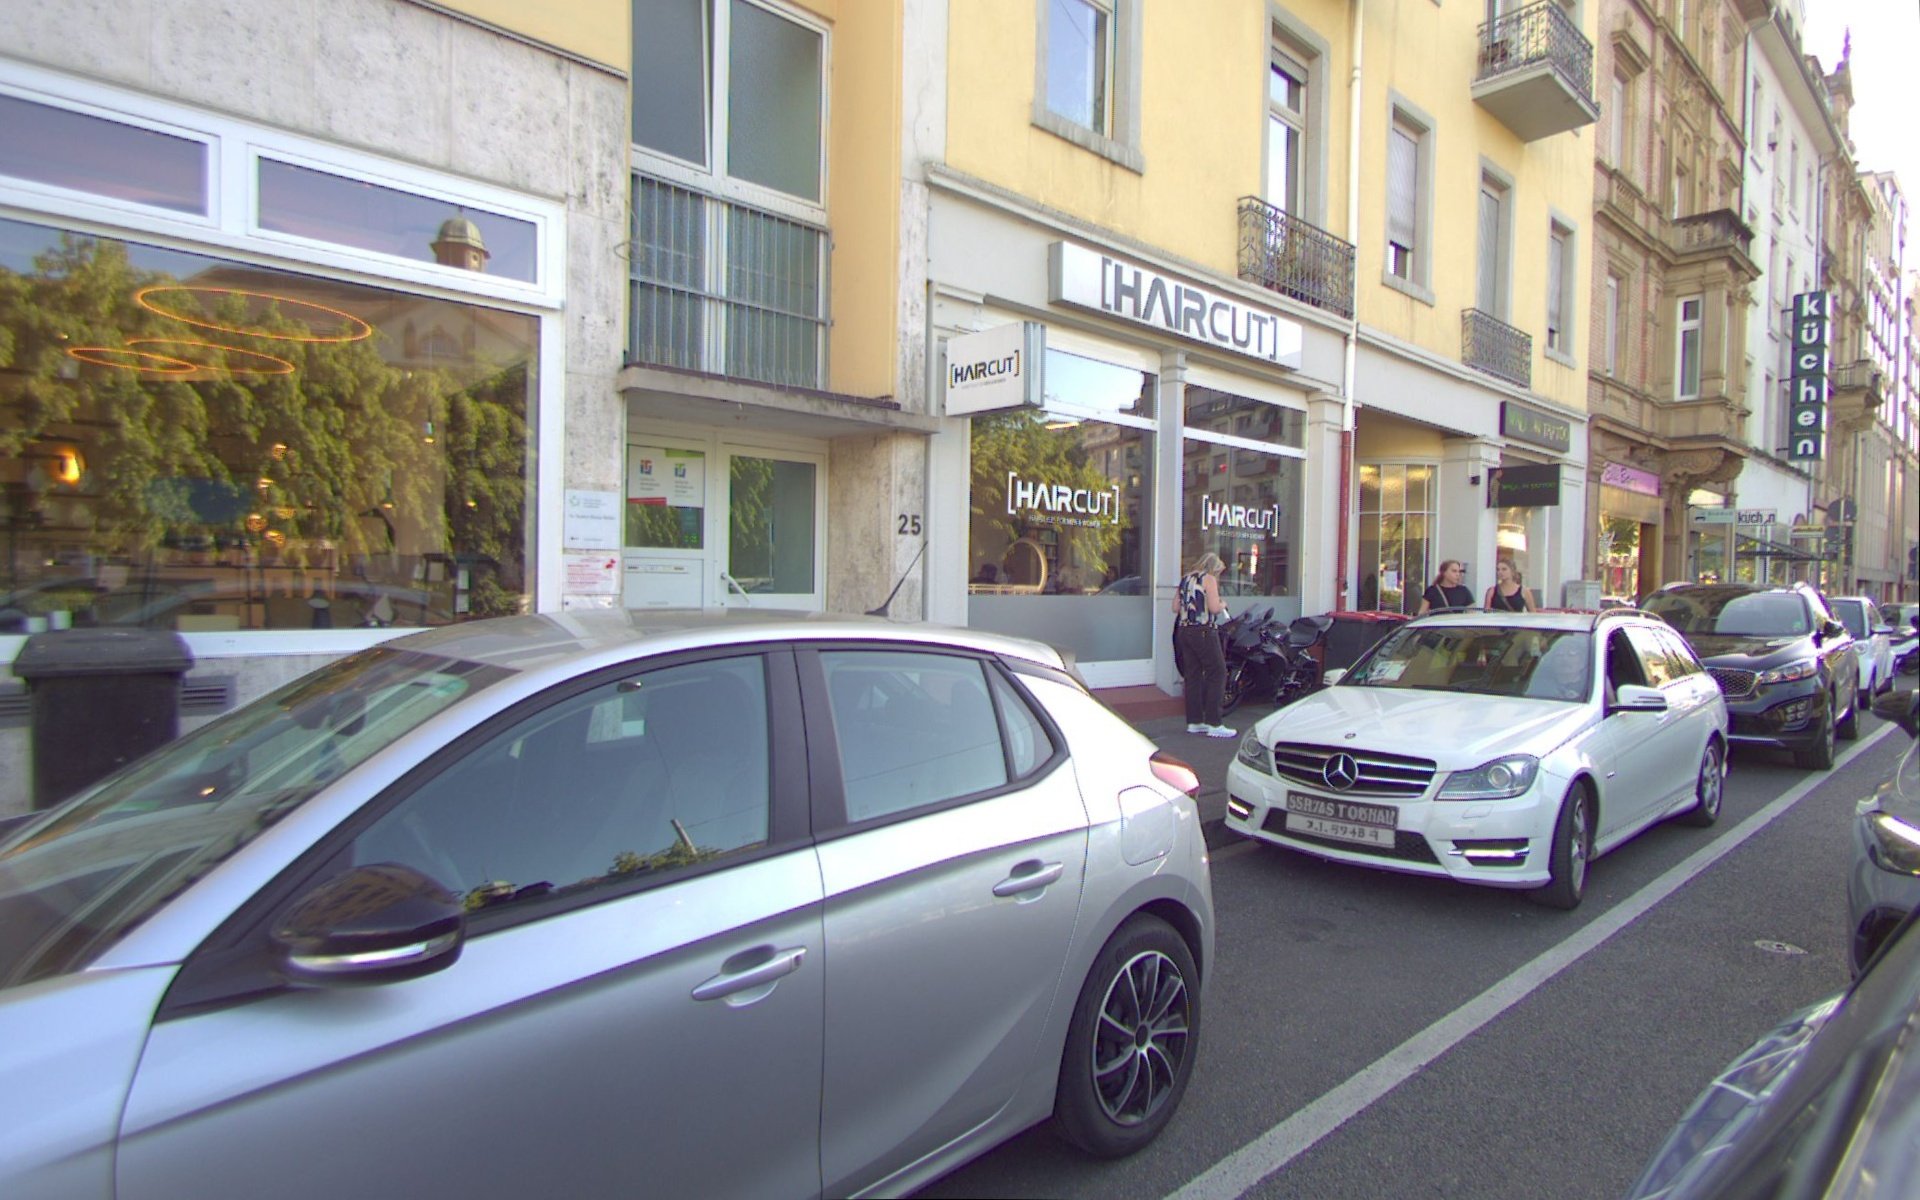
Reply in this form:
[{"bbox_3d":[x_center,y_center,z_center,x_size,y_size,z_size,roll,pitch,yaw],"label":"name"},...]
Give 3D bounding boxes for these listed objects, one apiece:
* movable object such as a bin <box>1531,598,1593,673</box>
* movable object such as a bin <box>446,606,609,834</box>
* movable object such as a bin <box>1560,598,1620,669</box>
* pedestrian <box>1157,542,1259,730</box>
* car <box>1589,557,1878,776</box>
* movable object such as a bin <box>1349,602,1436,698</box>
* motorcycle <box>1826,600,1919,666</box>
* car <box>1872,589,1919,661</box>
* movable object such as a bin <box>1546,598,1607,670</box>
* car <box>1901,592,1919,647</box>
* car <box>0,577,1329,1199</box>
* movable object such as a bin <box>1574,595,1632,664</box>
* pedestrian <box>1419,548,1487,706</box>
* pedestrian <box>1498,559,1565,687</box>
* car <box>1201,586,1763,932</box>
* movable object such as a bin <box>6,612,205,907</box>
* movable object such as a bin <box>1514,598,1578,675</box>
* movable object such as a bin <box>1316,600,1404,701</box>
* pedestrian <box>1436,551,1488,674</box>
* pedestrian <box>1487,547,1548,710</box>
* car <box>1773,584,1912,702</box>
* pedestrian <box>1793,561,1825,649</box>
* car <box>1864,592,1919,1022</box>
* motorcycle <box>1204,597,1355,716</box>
[{"bbox_3d":[9.308,0.531,15.645,0.608,1.079,0.606,0,4,-41],"label":"movable object such as a bin"},{"bbox_3d":[-2.357,0.604,5.498,0.609,1.080,0.704,0,4,-41],"label":"movable object such as a bin"},{"bbox_3d":[10.237,0.532,16.446,0.608,1.079,0.606,0,4,-41],"label":"movable object such as a bin"},{"bbox_3d":[2.283,0.305,9.329,0.523,1.653,0.697,0,2,-43],"label":"pedestrian"},{"bbox_3d":[8.035,0.505,10.335,4.498,1.758,1.756,0,1,-45],"label":"car"},{"bbox_3d":[5.056,0.565,11.832,0.608,1.037,0.669,1,3,-38],"label":"movable object such as a bin"},{"bbox_3d":[19.030,0.662,20.466,2.137,1.295,0.866,1,0,8],"label":"motorcycle"},{"bbox_3d":[22.111,0.527,23.012,4.096,1.537,1.734,0,1,-44],"label":"car"},{"bbox_3d":[9.766,0.525,16.039,0.608,1.079,0.606,0,4,-41],"label":"movable object such as a bin"},{"bbox_3d":[26.661,0.517,27.123,3.736,1.435,1.736,0,1,-41],"label":"car"},{"bbox_3d":[-0.881,0.680,2.439,4.008,1.445,1.672,0,1,-42],"label":"car"},{"bbox_3d":[10.717,0.482,16.860,0.608,1.079,0.606,0,4,-41],"label":"movable object such as a bin"},{"bbox_3d":[5.352,0.277,10.981,0.614,1.653,0.458,1,0,31],"label":"pedestrian"},{"bbox_3d":[7.703,0.298,13.653,0.582,1.681,0.451,2,1,2],"label":"pedestrian"},{"bbox_3d":[3.550,0.658,6.441,4.387,1.465,1.741,0,1,-42],"label":"car"},{"bbox_3d":[-3.663,0.621,4.359,0.609,1.080,0.704,0,4,-41],"label":"movable object such as a bin"},{"bbox_3d":[8.819,0.537,15.239,0.608,1.079,0.606,0,4,-41],"label":"movable object such as a bin"},{"bbox_3d":[4.530,0.556,11.471,0.608,1.054,0.661,1,3,-38],"label":"movable object such as a bin"},{"bbox_3d":[6.990,0.172,14.090,0.513,1.681,0.339,1,2,-26],"label":"pedestrian"},{"bbox_3d":[5.843,0.281,10.607,0.512,1.653,0.409,1,0,35],"label":"pedestrian"},{"bbox_3d":[12.849,0.549,14.701,2.748,1.537,1.273,0,1,-44],"label":"car"},{"bbox_3d":[17.543,0.101,20.906,0.473,1.785,0.434,0,0,-41],"label":"pedestrian"},{"bbox_3d":[5.399,0.713,4.289,4.297,1.467,1.846,0,1,-41],"label":"car"},{"bbox_3d":[3.347,0.538,10.497,1.975,1.105,0.551,0,2,-42],"label":"motorcycle"}]
